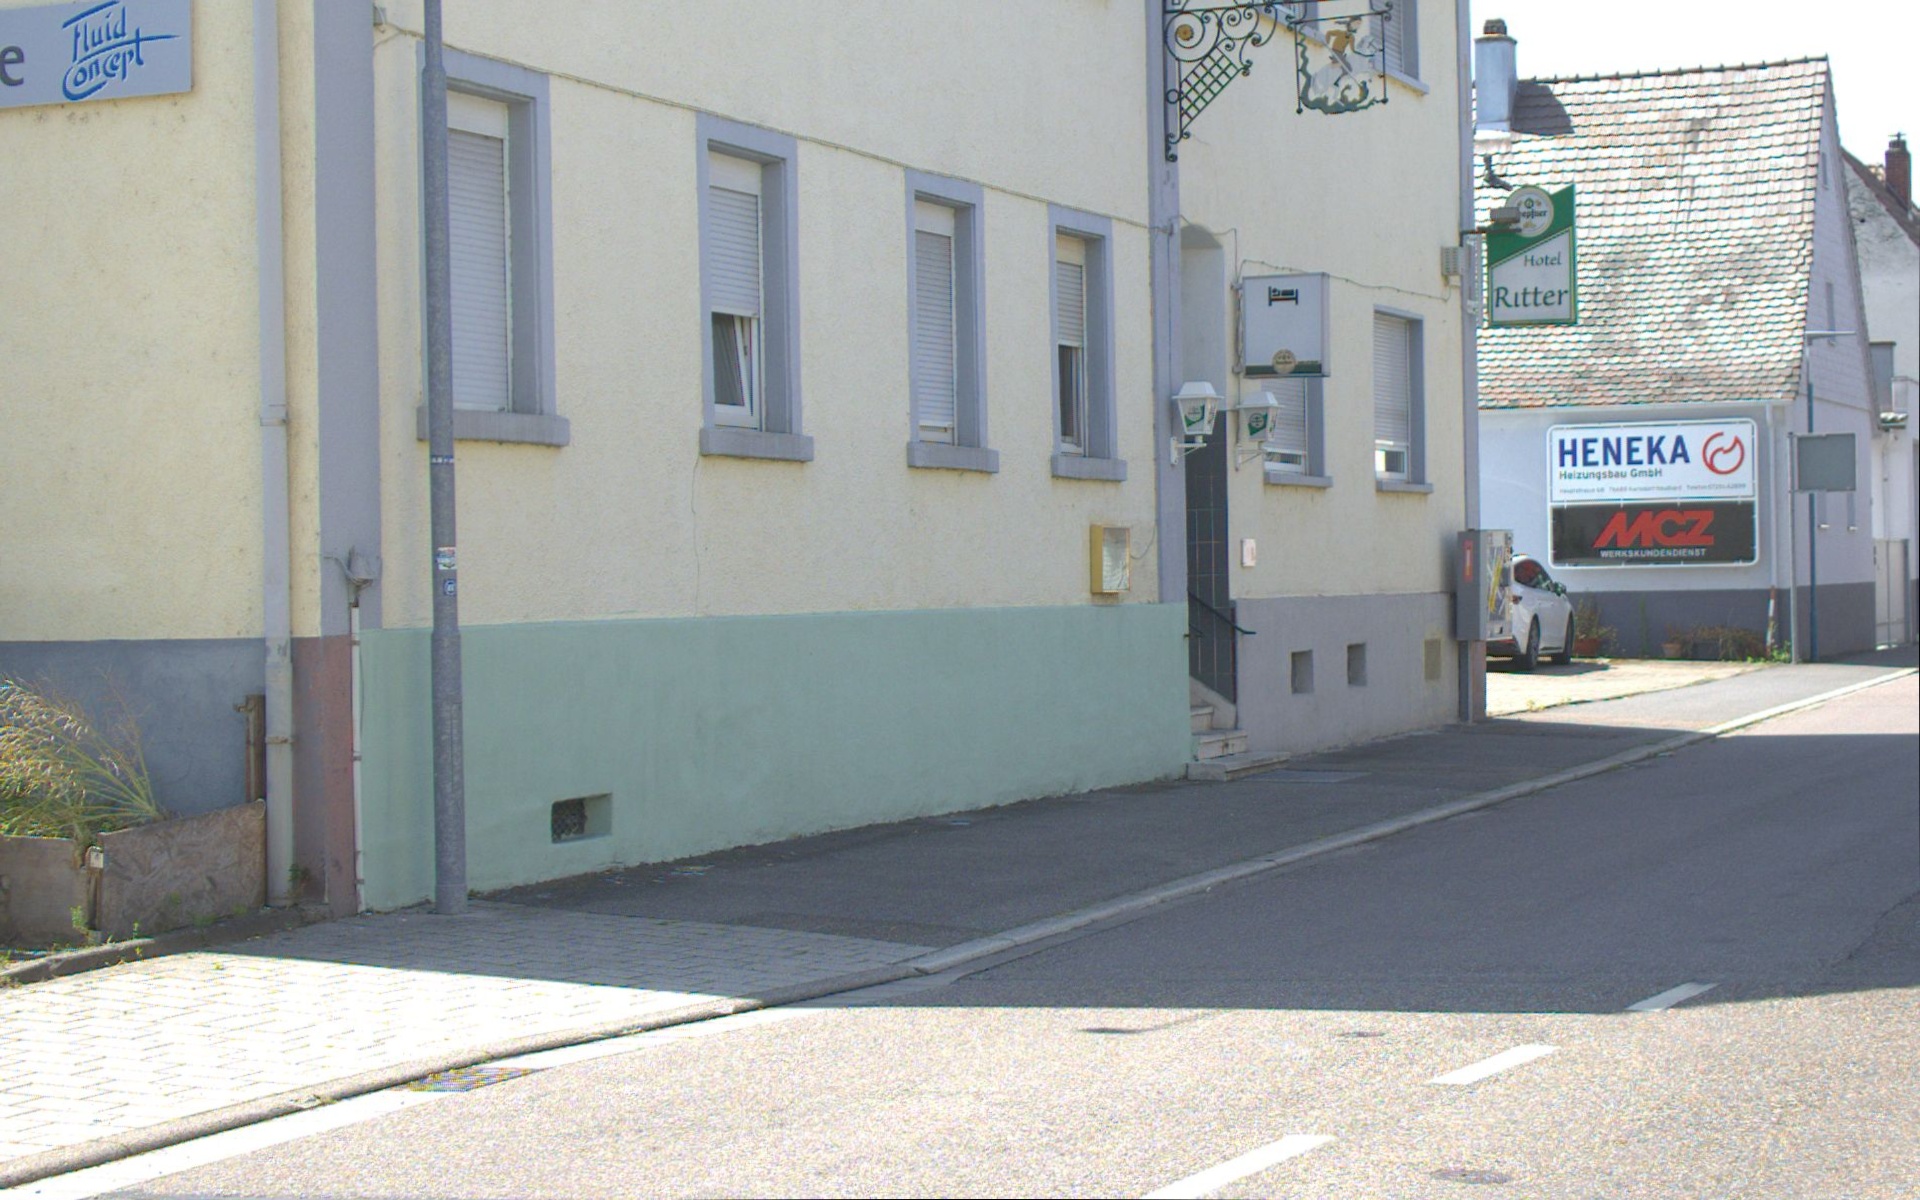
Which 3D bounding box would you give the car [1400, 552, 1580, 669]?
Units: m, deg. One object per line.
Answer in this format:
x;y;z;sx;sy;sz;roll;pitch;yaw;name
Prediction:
7.519;0.115;48.507;1.721;1.551;4.195;1;1;20;car
